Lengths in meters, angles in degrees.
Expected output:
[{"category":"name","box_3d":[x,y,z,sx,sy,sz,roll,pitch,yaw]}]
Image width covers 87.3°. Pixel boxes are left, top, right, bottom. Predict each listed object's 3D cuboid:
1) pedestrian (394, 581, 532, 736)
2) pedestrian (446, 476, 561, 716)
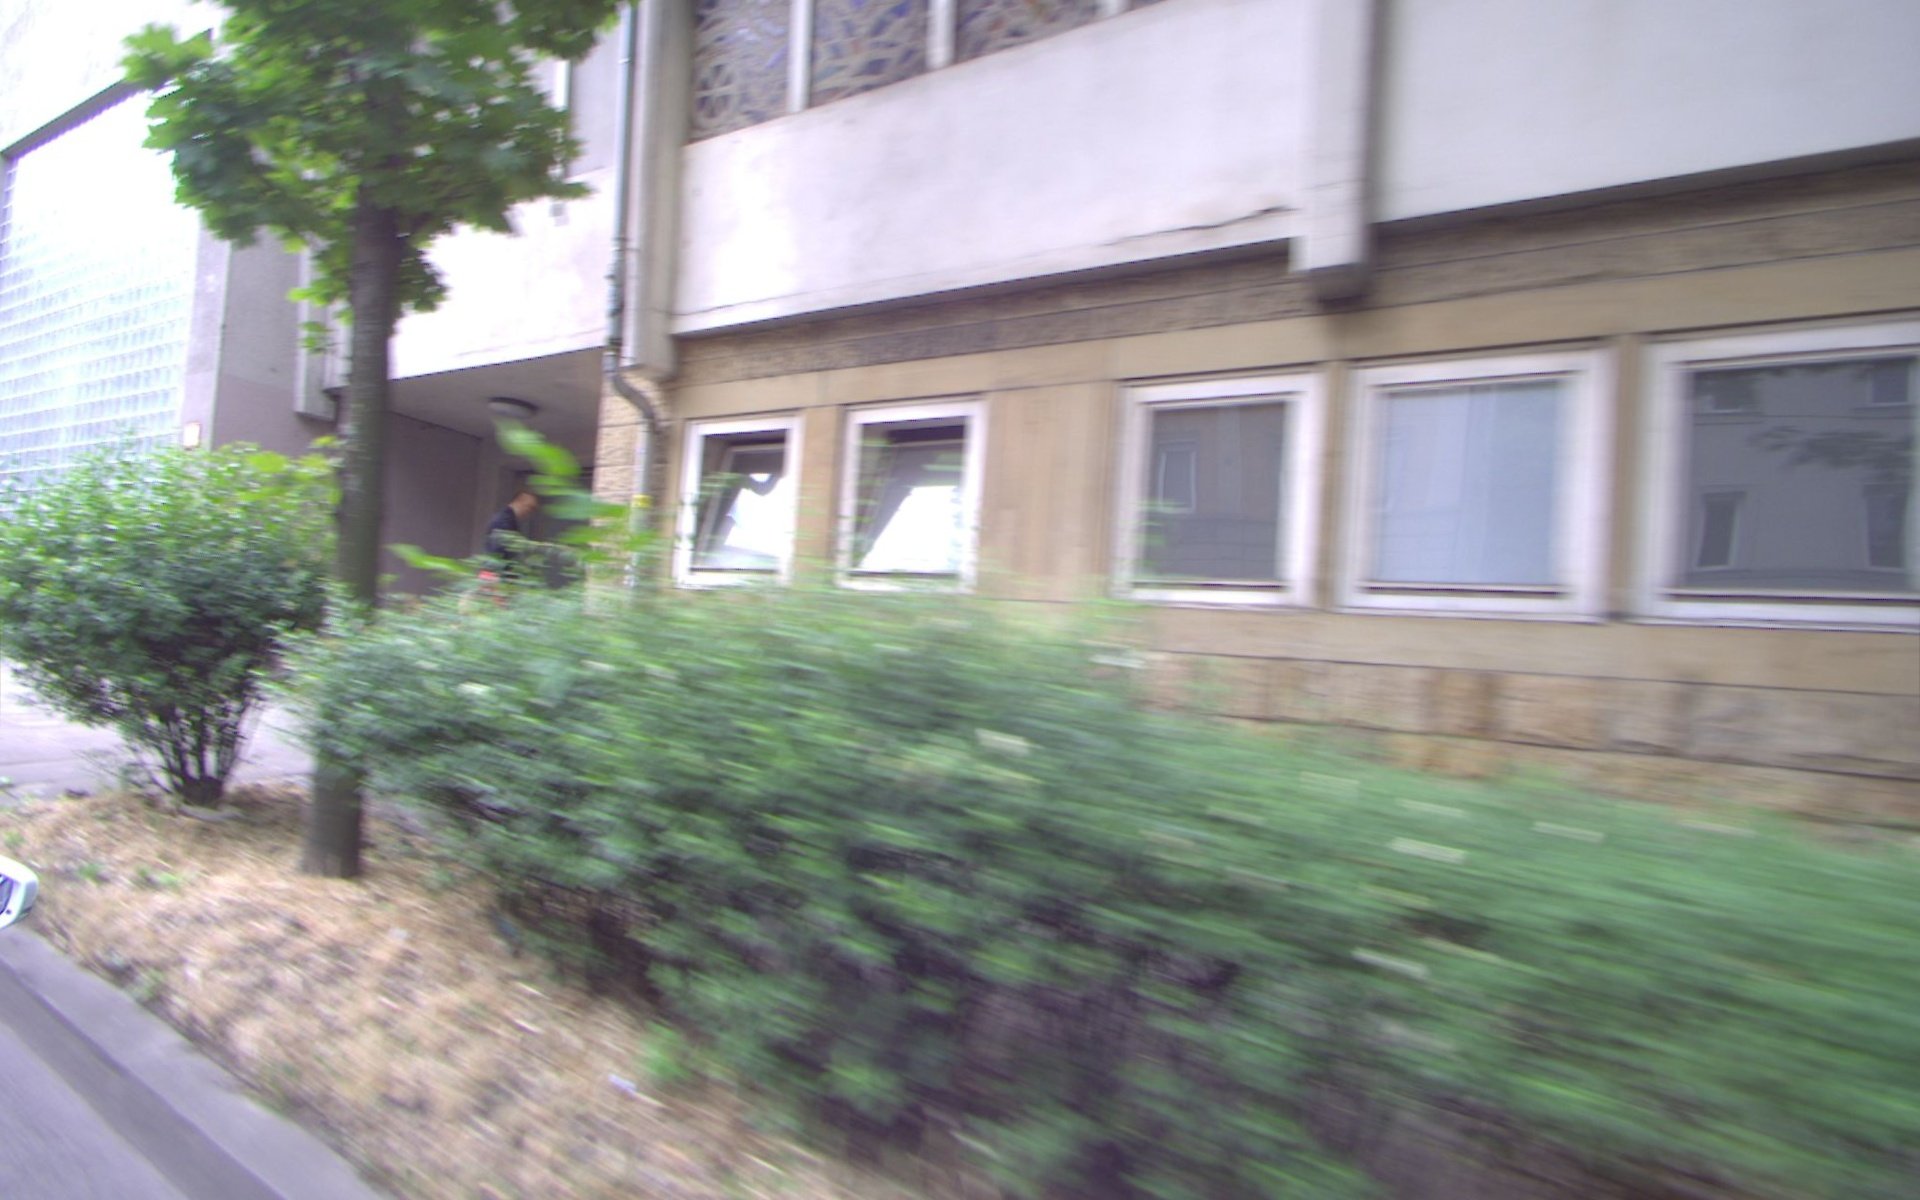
[{"category":"pedestrian","box_3d":[-3.457,0.407,7.008,0.597,0.976,0.526,7,-1,32]},{"category":"pedestrian","box_3d":[-3.868,-0.025,8.509,0.606,1.897,0.587,8,-1,-31]}]
